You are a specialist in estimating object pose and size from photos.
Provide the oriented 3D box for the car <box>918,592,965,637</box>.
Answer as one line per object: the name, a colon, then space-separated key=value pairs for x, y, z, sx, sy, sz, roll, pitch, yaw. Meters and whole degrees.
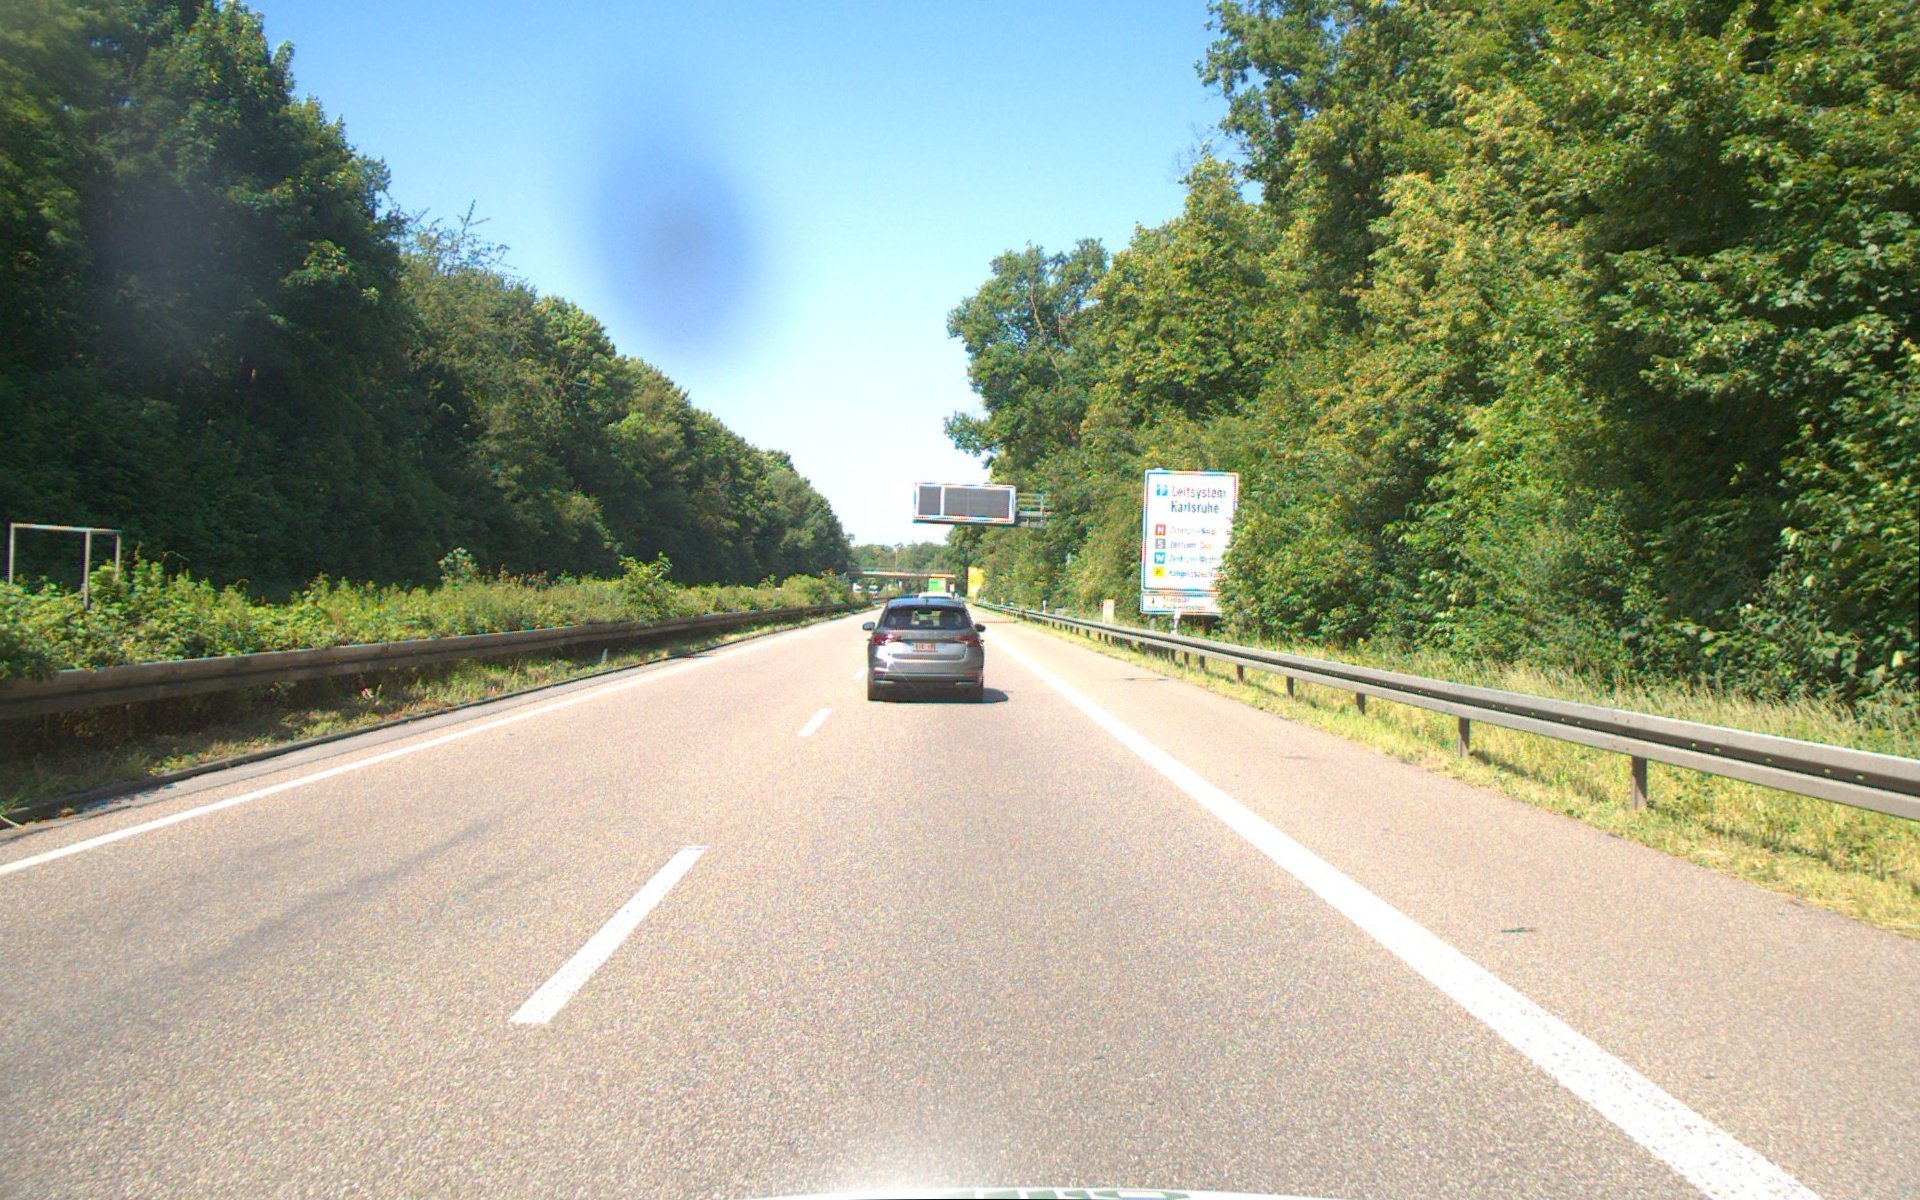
car: x=-0.594 y=0.469 z=56.507 sx=1.491 sy=1.472 sz=3.340 roll=1 pitch=0 yaw=1

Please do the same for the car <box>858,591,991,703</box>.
car: x=-0.455 y=0.635 z=24.494 sx=1.802 sy=1.497 sz=3.624 roll=1 pitch=0 yaw=1

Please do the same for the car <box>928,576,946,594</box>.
car: x=-3.439 y=-2.231 z=247.928 sx=2.693 sy=2.700 sz=3.999 roll=1 pitch=0 yaw=-1

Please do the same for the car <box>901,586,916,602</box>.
car: x=-6.884 y=-0.842 z=220.921 sx=1.953 sy=2.049 sz=3.999 roll=1 pitch=0 yaw=-1
